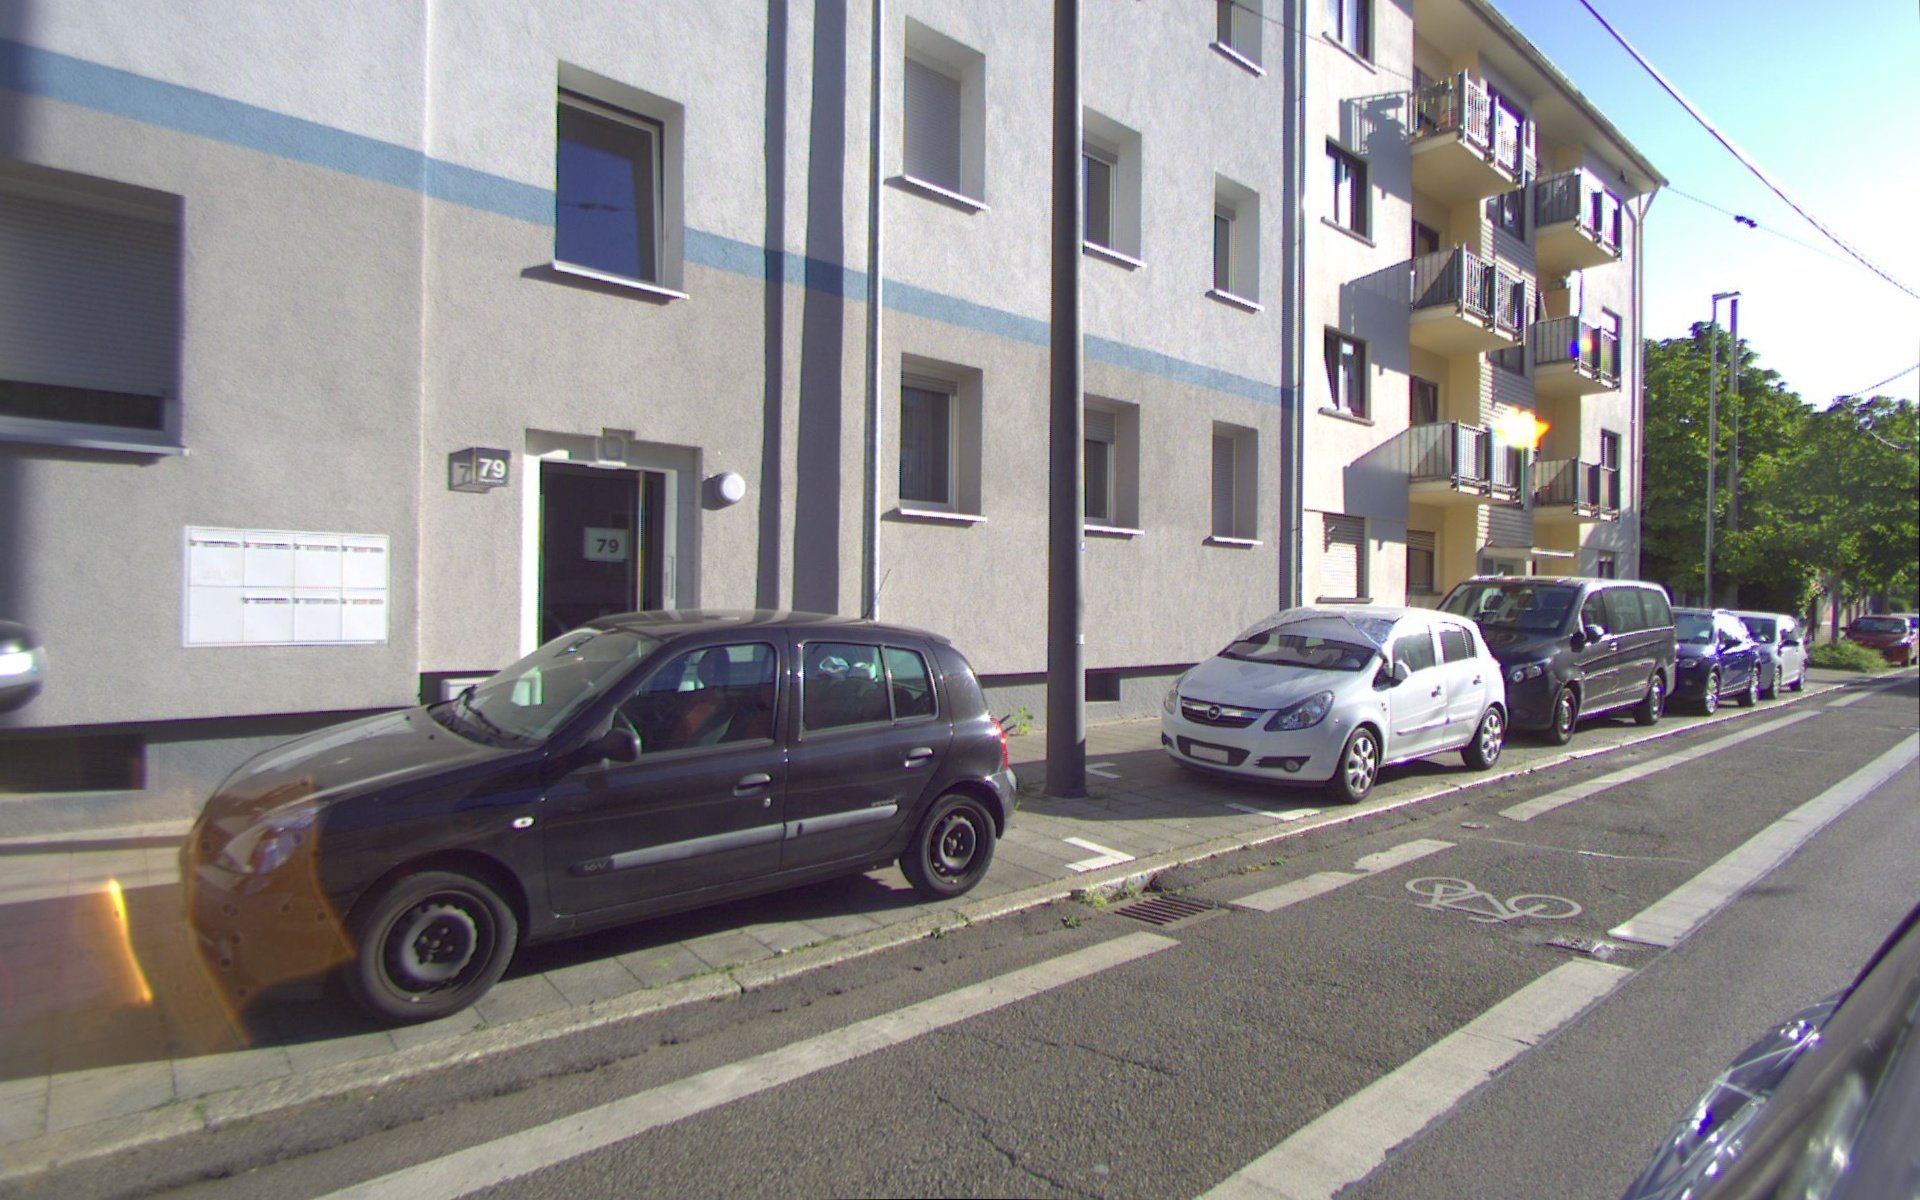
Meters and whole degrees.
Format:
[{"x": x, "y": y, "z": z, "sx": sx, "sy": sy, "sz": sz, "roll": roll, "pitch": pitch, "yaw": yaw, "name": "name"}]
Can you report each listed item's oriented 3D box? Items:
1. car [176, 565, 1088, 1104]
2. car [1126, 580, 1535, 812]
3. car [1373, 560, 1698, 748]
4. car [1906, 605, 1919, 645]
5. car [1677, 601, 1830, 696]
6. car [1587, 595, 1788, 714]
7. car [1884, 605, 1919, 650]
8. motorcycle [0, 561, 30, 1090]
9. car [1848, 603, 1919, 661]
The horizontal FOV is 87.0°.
[{"x": -1.314, "y": 0.691, "z": 4.860, "sx": 3.834, "sy": 1.590, "sz": 1.612, "roll": 1, "pitch": 2, "yaw": -39, "name": "car"}, {"x": 3.432, "y": 0.670, "z": 9.055, "sx": 3.836, "sy": 1.590, "sz": 1.804, "roll": 0, "pitch": 2, "yaw": -42, "name": "car"}, {"x": 7.453, "y": 0.556, "z": 12.878, "sx": 4.914, "sy": 1.945, "sz": 1.934, "roll": 1, "pitch": 2, "yaw": -40, "name": "car"}, {"x": 39.912, "y": 1.031, "z": 41.065, "sx": 4.400, "sy": 1.590, "sz": 1.827, "roll": 0, "pitch": 2, "yaw": -42, "name": "car"}, {"x": 14.984, "y": 0.849, "z": 19.054, "sx": 3.568, "sy": 1.561, "sz": 1.556, "roll": 1, "pitch": 2, "yaw": -41, "name": "car"}, {"x": 11.566, "y": 0.770, "z": 15.991, "sx": 4.144, "sy": 1.590, "sz": 1.612, "roll": 1, "pitch": 2, "yaw": -41, "name": "car"}, {"x": 35.905, "y": 1.010, "z": 37.604, "sx": 4.400, "sy": 1.590, "sz": 1.827, "roll": 0, "pitch": 2, "yaw": -42, "name": "car"}, {"x": -4.042, "y": 0.647, "z": 2.398, "sx": 2.661, "sy": 1.540, "sz": 0.807, "roll": 1, "pitch": 2, "yaw": -42, "name": "motorcycle"}, {"x": 28.672, "y": 0.941, "z": 30.964, "sx": 4.399, "sy": 1.590, "sz": 1.612, "roll": 1, "pitch": 2, "yaw": -41, "name": "car"}]
